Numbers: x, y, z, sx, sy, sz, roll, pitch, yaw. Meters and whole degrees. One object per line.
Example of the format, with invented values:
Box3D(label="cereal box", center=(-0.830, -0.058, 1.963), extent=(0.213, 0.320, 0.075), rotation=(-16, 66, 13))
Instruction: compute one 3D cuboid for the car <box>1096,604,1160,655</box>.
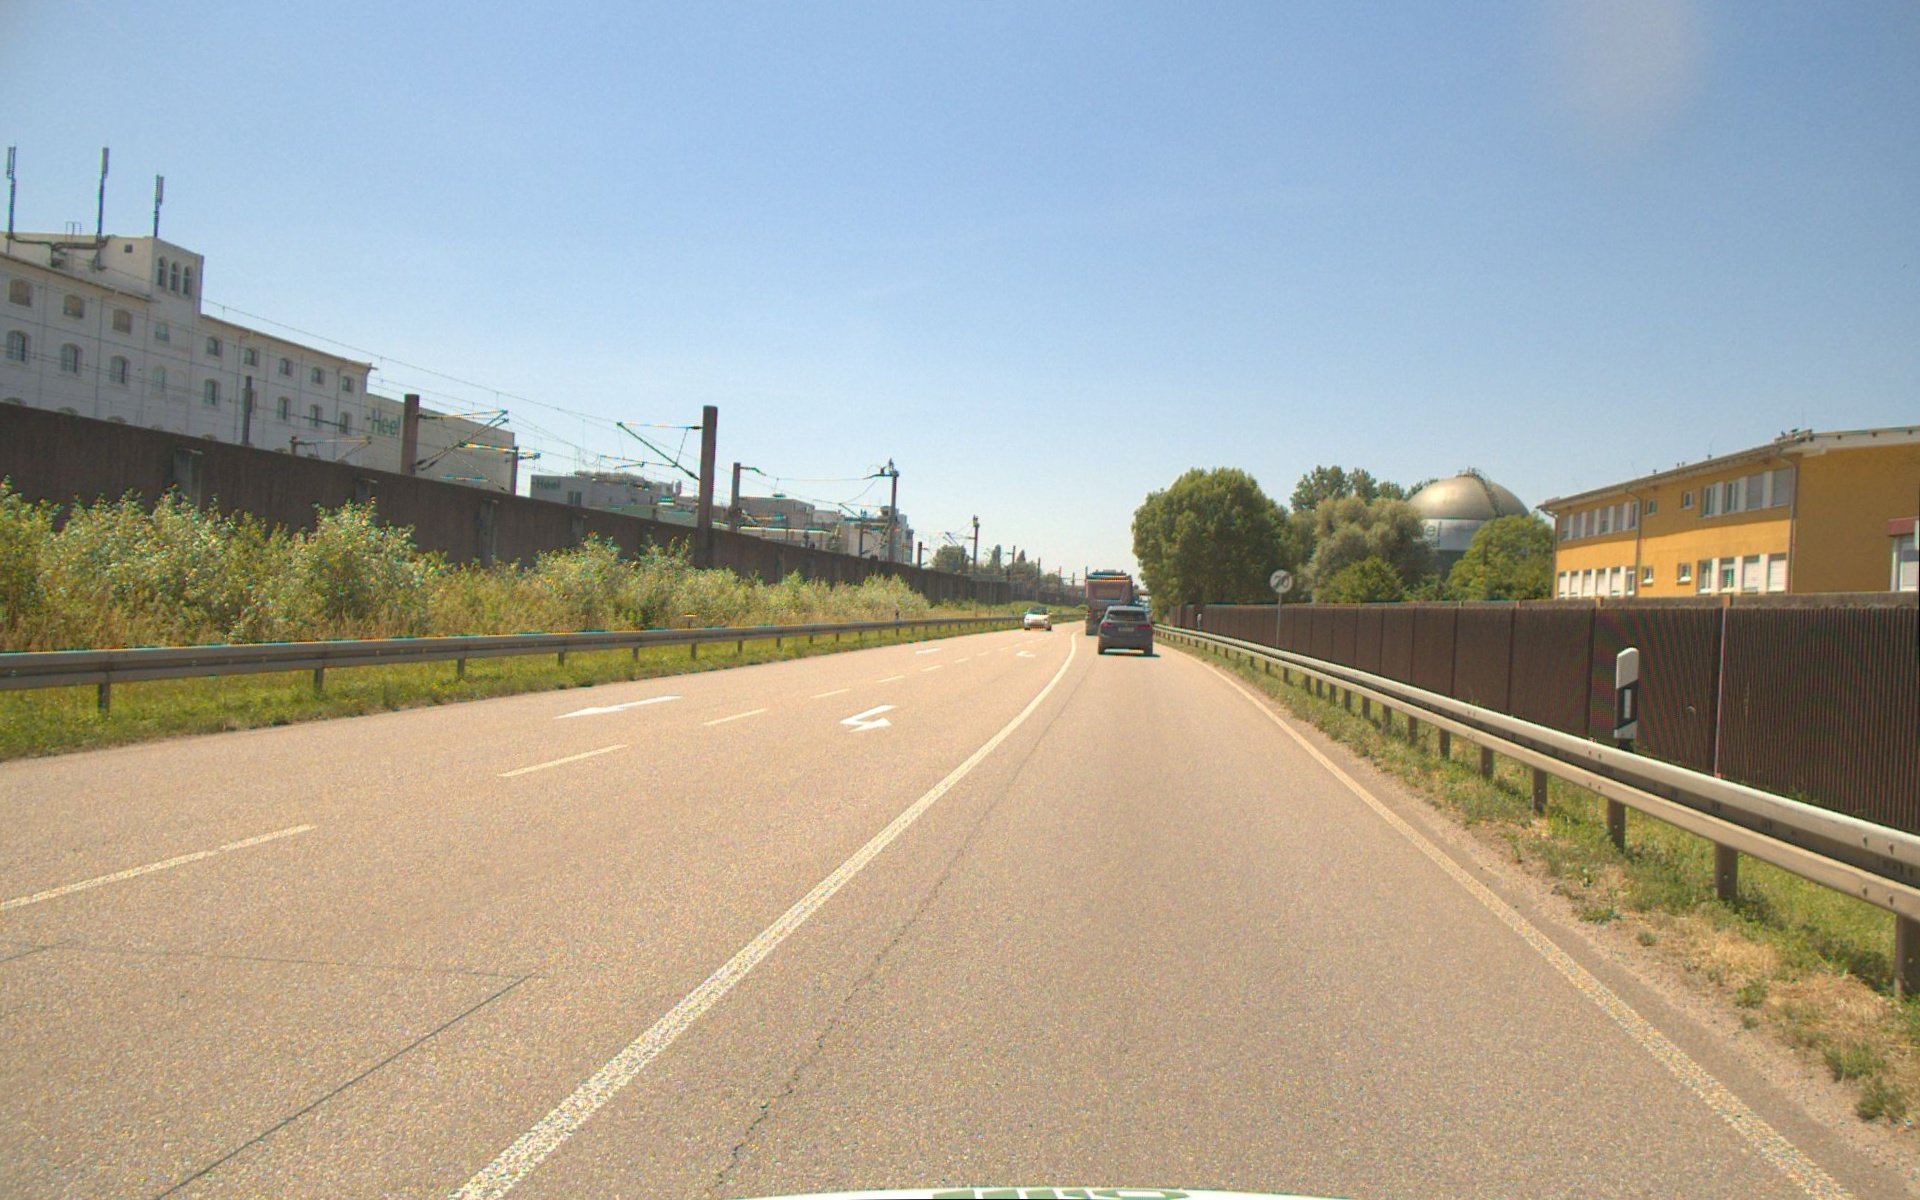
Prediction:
Box3D(label="car", center=(5.537, 1.001, 54.535), extent=(1.951, 1.529, 4.002), rotation=(3, -2, 6))

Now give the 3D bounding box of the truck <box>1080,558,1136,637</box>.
Box3D(label="truck", center=(8.529, -0.030, 96.100), extent=(2.933, 4.253, 11.813), rotation=(2, -1, 4))

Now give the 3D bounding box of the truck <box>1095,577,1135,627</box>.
Box3D(label="truck", center=(12.451, 0.254, 133.403), extent=(2.933, 3.785, 10.563), rotation=(2, -1, 4))

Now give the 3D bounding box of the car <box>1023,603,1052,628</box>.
Box3D(label="car", center=(4.963, 0.983, 105.710), extent=(1.637, 1.528, 3.724), rotation=(2, 0, 5))
